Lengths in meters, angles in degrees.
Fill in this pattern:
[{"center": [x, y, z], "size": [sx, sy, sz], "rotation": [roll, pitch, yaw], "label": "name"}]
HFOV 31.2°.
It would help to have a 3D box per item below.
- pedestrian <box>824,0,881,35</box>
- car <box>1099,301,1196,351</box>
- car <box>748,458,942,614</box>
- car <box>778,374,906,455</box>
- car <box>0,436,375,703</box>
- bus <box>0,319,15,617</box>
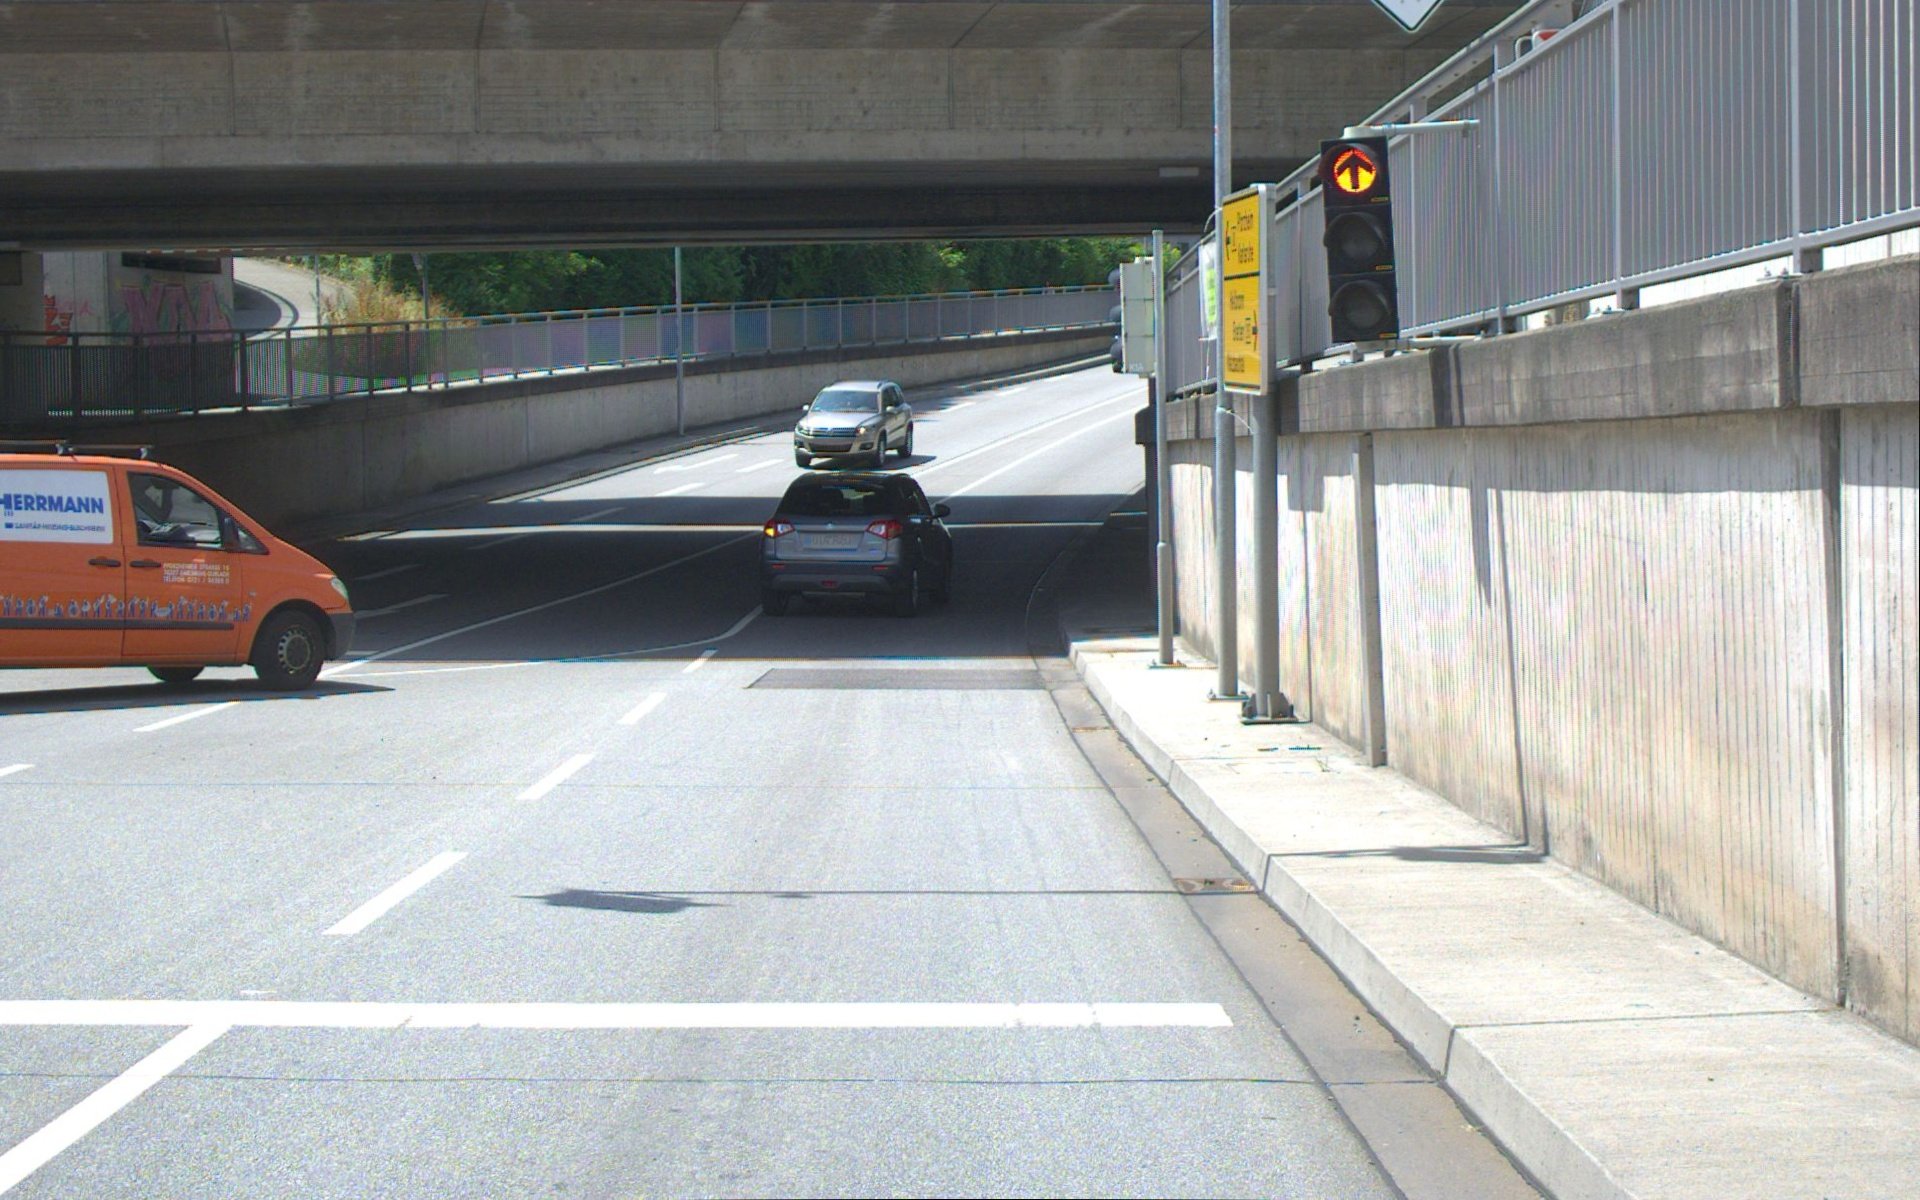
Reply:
[{"center": [-1.147, -6.974, 35.896], "size": [0.539, 2.074, 0.535], "rotation": [-1, 2, -7], "label": "pedestrian"}, {"center": [5.678, -8.256, 103.751], "size": [1.784, 1.431, 3.997], "rotation": [1, 4, 21], "label": "car"}, {"center": [-1.266, -0.783, 39.620], "size": [1.804, 1.612, 4.000], "rotation": [0, 4, 4], "label": "car"}, {"center": [-2.426, -3.889, 71.743], "size": [1.994, 1.621, 4.000], "rotation": [0, 4, 8], "label": "car"}, {"center": [-7.098, -0.277, 26.817], "size": [4.706, 1.925, 1.878], "rotation": [-4, 5, -42], "label": "car"}, {"center": [-14.228, -1.082, 31.821], "size": [2.585, 3.161, 12.358], "rotation": [2, 4, 29], "label": "bus"}]
